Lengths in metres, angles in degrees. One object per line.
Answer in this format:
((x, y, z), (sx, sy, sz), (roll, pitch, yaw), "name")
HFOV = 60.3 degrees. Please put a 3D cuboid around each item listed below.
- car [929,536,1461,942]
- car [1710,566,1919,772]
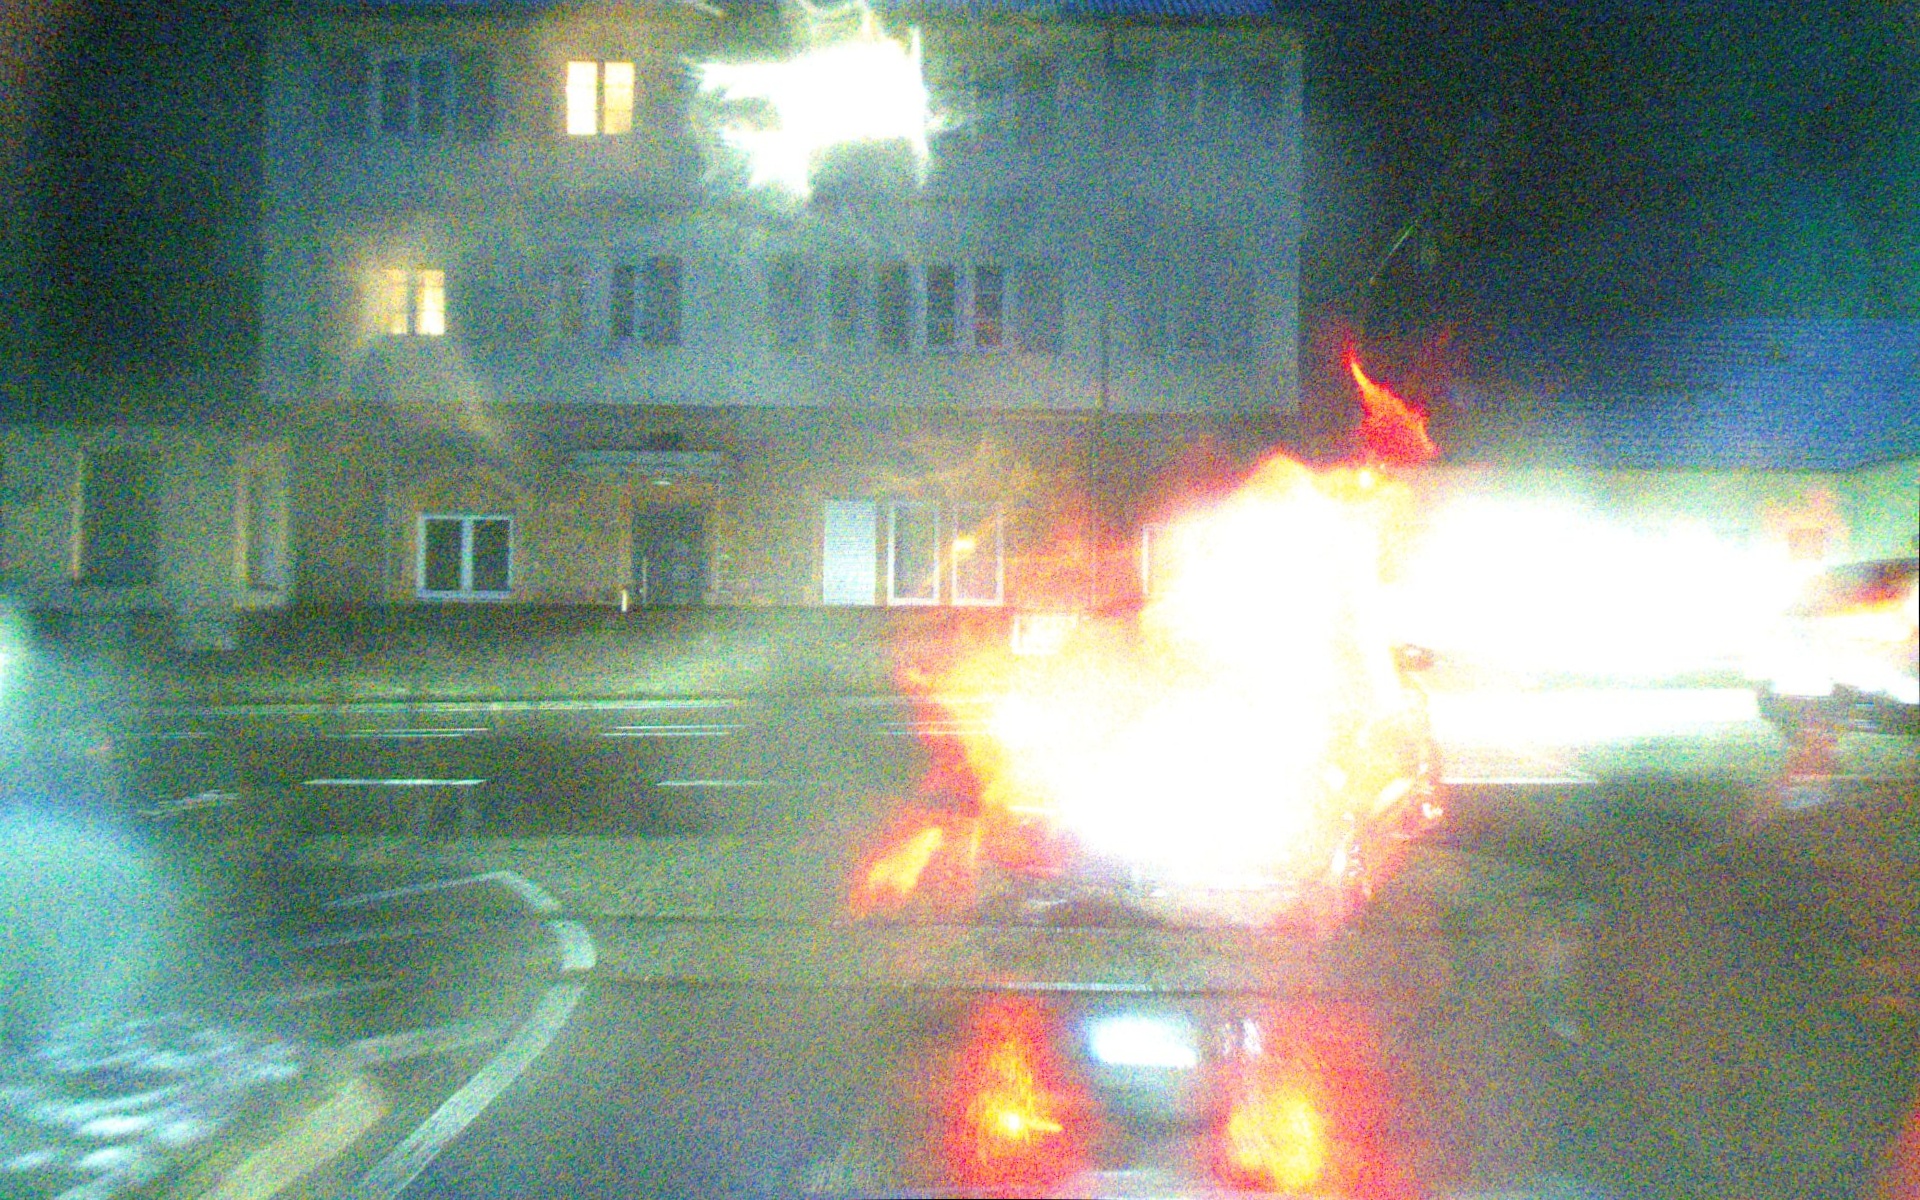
((1.601, 0.651, 9.532), (2.016, 1.707, 4.138), (3, -1, 22), "car")
((8.734, 0.470, 13.885), (4.154, 1.537, 1.909), (-2, 1, -14), "car")
